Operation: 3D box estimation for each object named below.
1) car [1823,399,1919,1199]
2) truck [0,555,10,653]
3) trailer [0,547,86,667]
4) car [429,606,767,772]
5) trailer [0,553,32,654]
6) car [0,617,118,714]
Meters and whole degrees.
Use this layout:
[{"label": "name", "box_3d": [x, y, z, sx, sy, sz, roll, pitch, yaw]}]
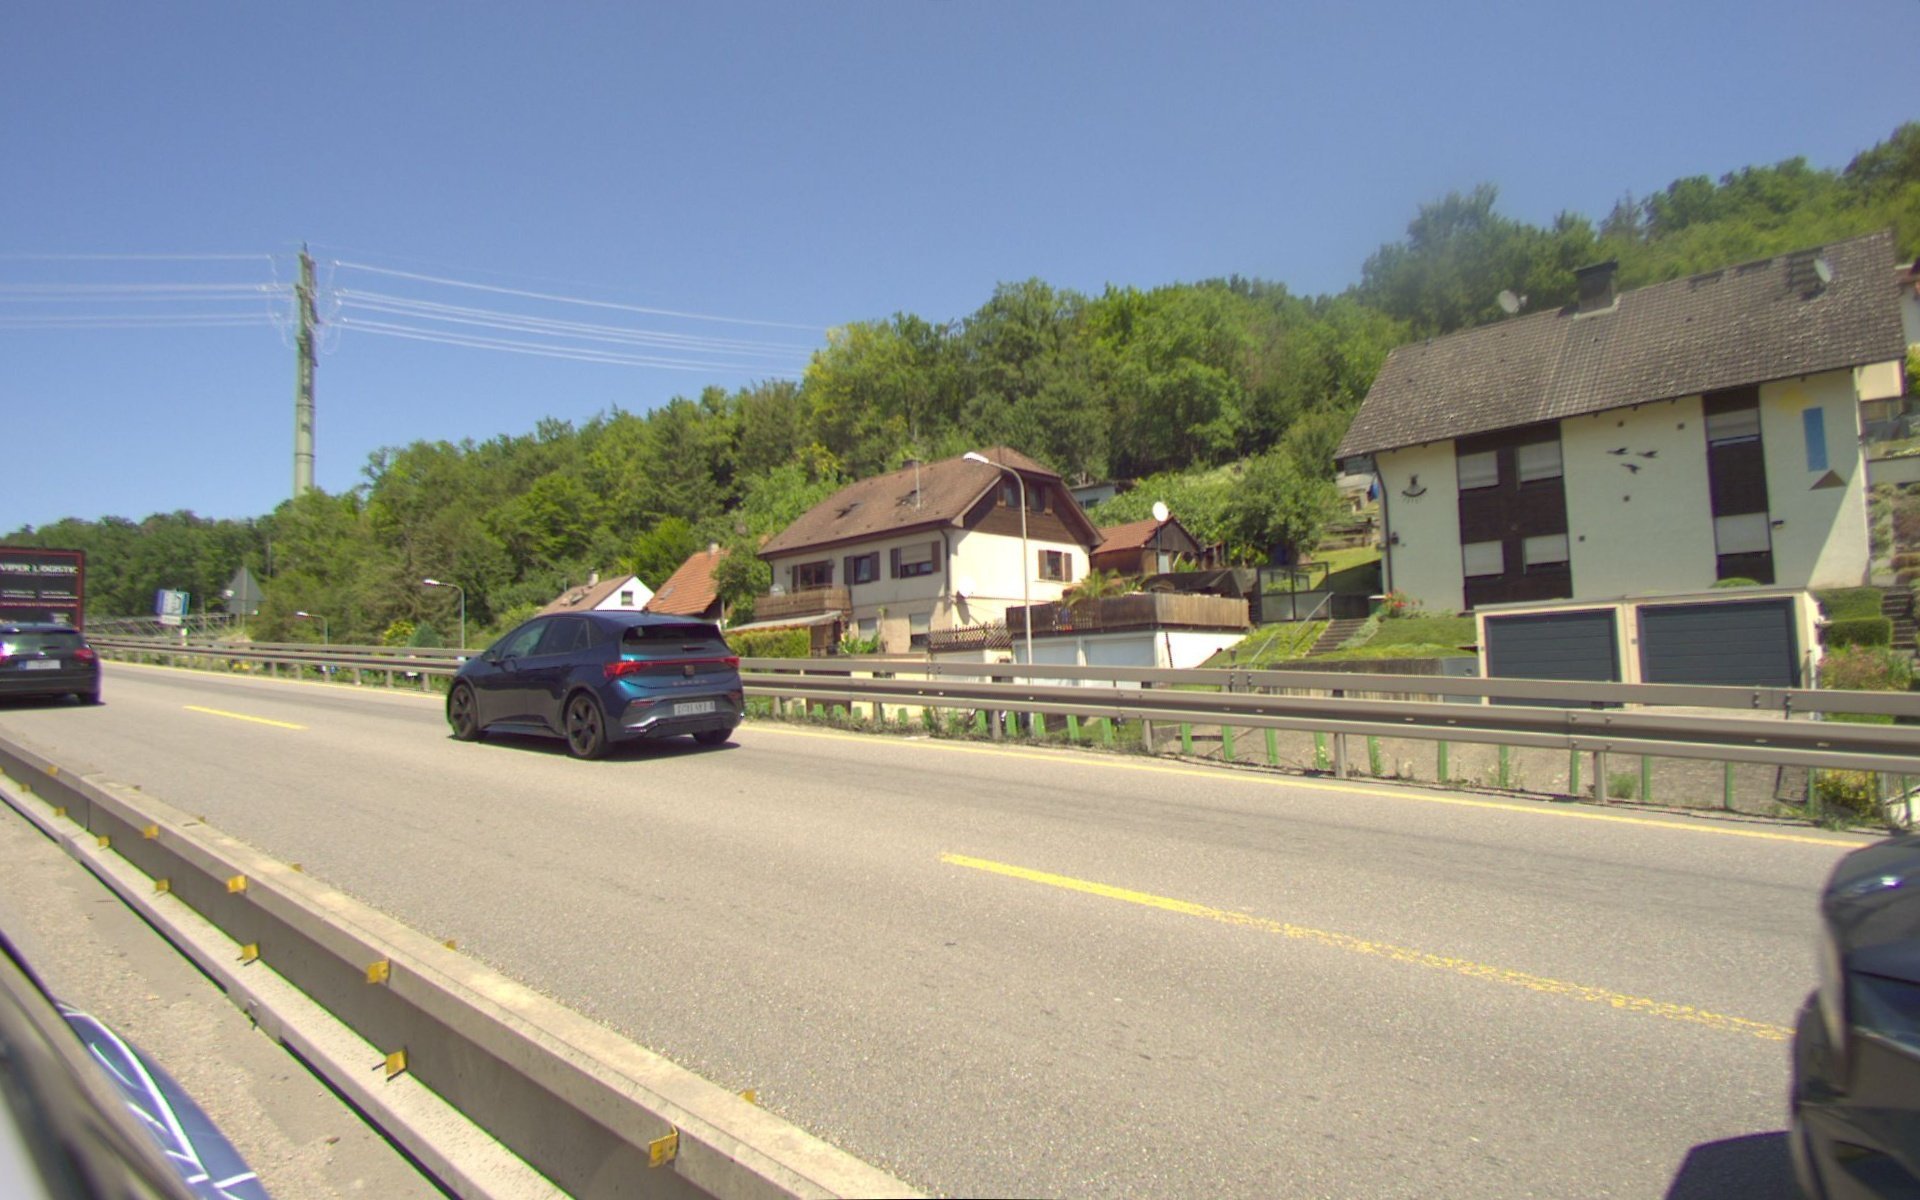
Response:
[{"label": "car", "box_3d": [3.464, 0.539, 0.604, 4.477, 1.598, 1.853, 0, 0, 41]}, {"label": "truck", "box_3d": [-45.050, 0.225, 45.598, 4.953, 4.316, 2.724, -1, -1, 40]}, {"label": "trailer", "box_3d": [-35.801, 0.366, 38.202, 8.623, 4.101, 2.730, -2, -1, 39]}, {"label": "car", "box_3d": [-4.284, 0.854, 11.643, 4.255, 1.528, 1.823, 0, 0, 41]}, {"label": "trailer", "box_3d": [-42.309, 0.252, 43.308, 7.999, 4.101, 2.730, -2, -1, 39]}, {"label": "car", "box_3d": [-17.177, 1.103, 18.495, 4.645, 1.515, 1.973, 0, 0, 40]}]
